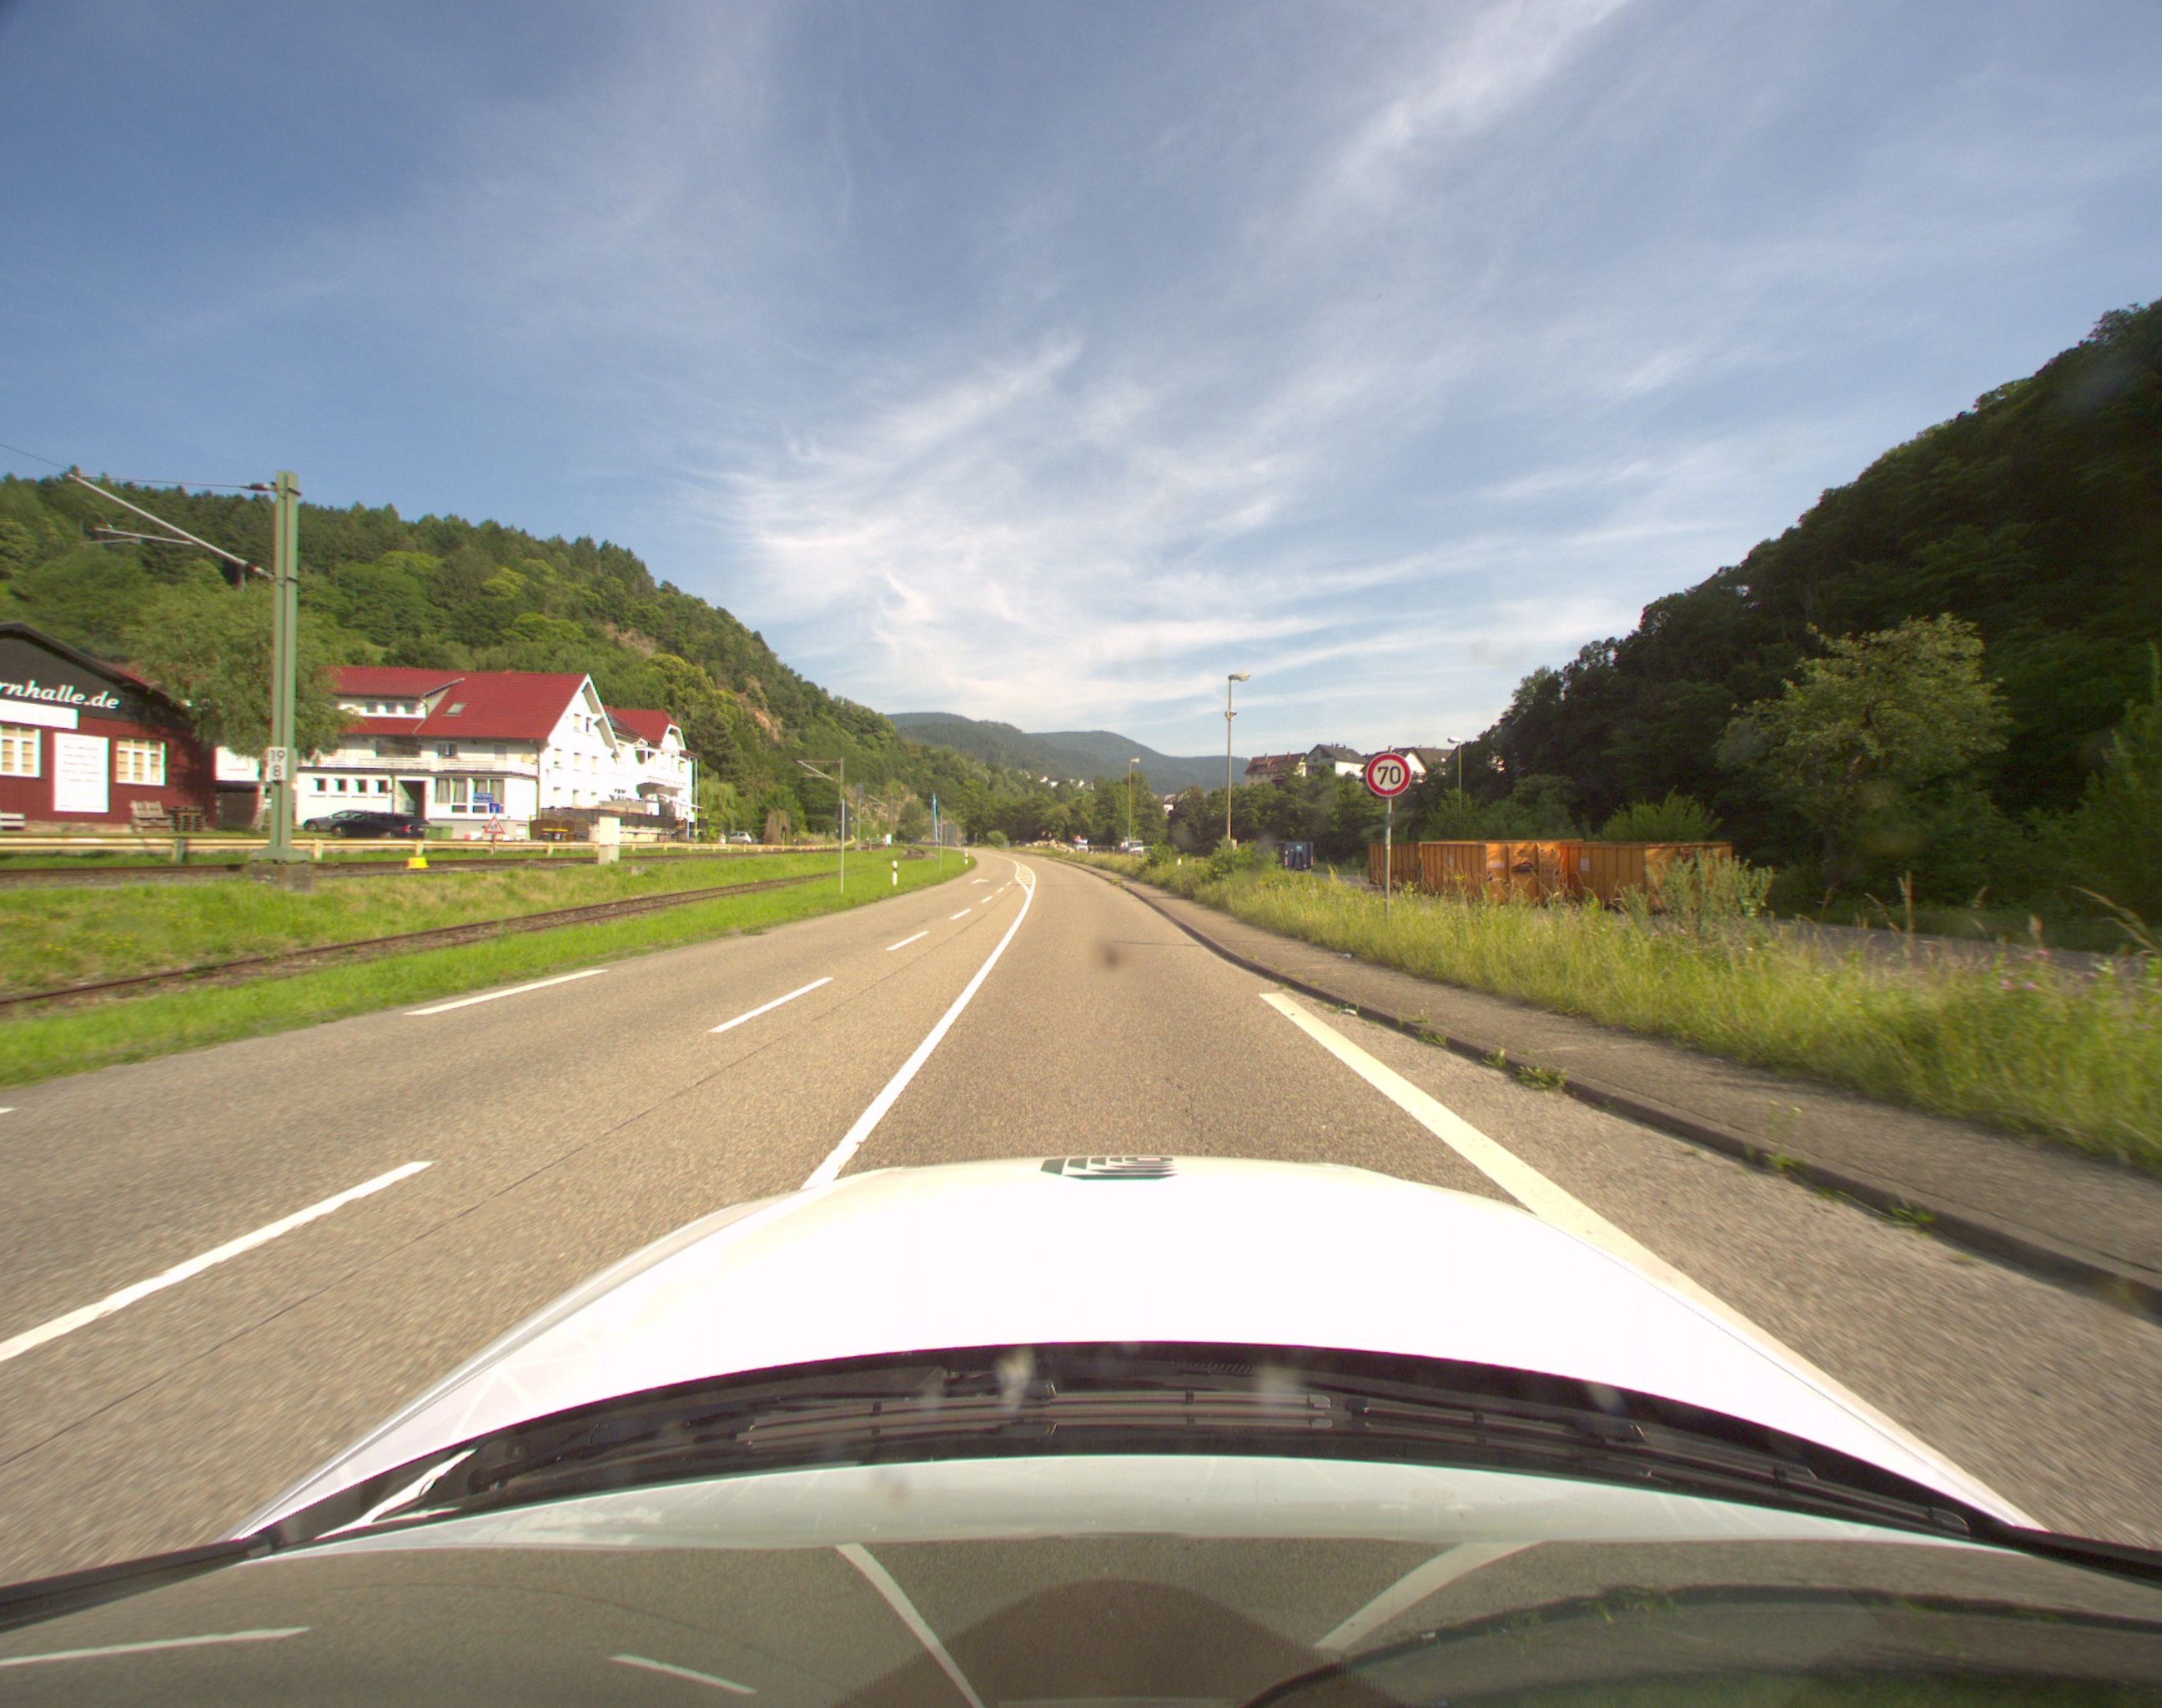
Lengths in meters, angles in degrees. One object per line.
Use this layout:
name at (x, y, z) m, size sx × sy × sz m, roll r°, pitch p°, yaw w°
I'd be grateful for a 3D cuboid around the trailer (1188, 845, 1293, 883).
trailer at (7.860, 0.421, 41.640) m, size 2.786 × 1.474 × 9.875 m, roll 3°, pitch 1°, yaw -4°

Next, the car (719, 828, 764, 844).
car at (-37.431, -1.972, 89.894) m, size 4.139 × 1.691 × 1.996 m, roll 1°, pitch 1°, yaw -6°

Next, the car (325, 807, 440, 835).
car at (-34.721, -1.632, 40.585) m, size 4.086 × 1.270 × 1.735 m, roll 1°, pitch 1°, yaw -4°

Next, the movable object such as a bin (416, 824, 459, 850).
movable object such as a bin at (-29.576, -0.777, 37.437) m, size 1.140 × 1.191 × 1.089 m, roll 1°, pitch 1°, yaw -11°

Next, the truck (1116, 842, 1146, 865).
truck at (8.463, -0.142, 139.587) m, size 3.103 × 3.781 × 8.616 m, roll 2°, pitch 1°, yaw -10°

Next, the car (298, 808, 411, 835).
car at (-38.506, -1.695, 43.231) m, size 4.245 × 1.329 × 1.752 m, roll 1°, pitch 1°, yaw -5°

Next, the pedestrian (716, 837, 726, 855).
pedestrian at (-33.759, -0.761, 76.356) m, size 0.606 × 1.616 × 0.676 m, roll 1°, pitch 1°, yaw -8°

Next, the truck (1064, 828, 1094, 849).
truck at (-0.389, -3.037, 156.191) m, size 3.112 × 3.781 × 8.591 m, roll 1°, pitch 1°, yaw -19°

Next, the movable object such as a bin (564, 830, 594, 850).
movable object such as a bin at (-30.154, -0.841, 48.924) m, size 1.088 × 1.191 × 1.141 m, roll 1°, pitch 1°, yaw -5°

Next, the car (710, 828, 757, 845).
car at (-37.207, -1.899, 87.261) m, size 4.139 × 1.691 × 1.996 m, roll 1°, pitch 1°, yaw -6°

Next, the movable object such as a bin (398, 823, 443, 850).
movable object such as a bin at (-29.377, -0.778, 36.224) m, size 1.140 × 1.191 × 1.089 m, roll 1°, pitch 1°, yaw -11°

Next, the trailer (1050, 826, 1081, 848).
trailer at (-3.179, -3.481, 164.951) m, size 3.374 × 4.274 × 9.848 m, roll 1°, pitch 1°, yaw -18°

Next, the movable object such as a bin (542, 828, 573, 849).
movable object such as a bin at (-31.302, -0.934, 48.711) m, size 1.088 × 1.191 × 1.141 m, roll 1°, pitch 1°, yaw -5°
